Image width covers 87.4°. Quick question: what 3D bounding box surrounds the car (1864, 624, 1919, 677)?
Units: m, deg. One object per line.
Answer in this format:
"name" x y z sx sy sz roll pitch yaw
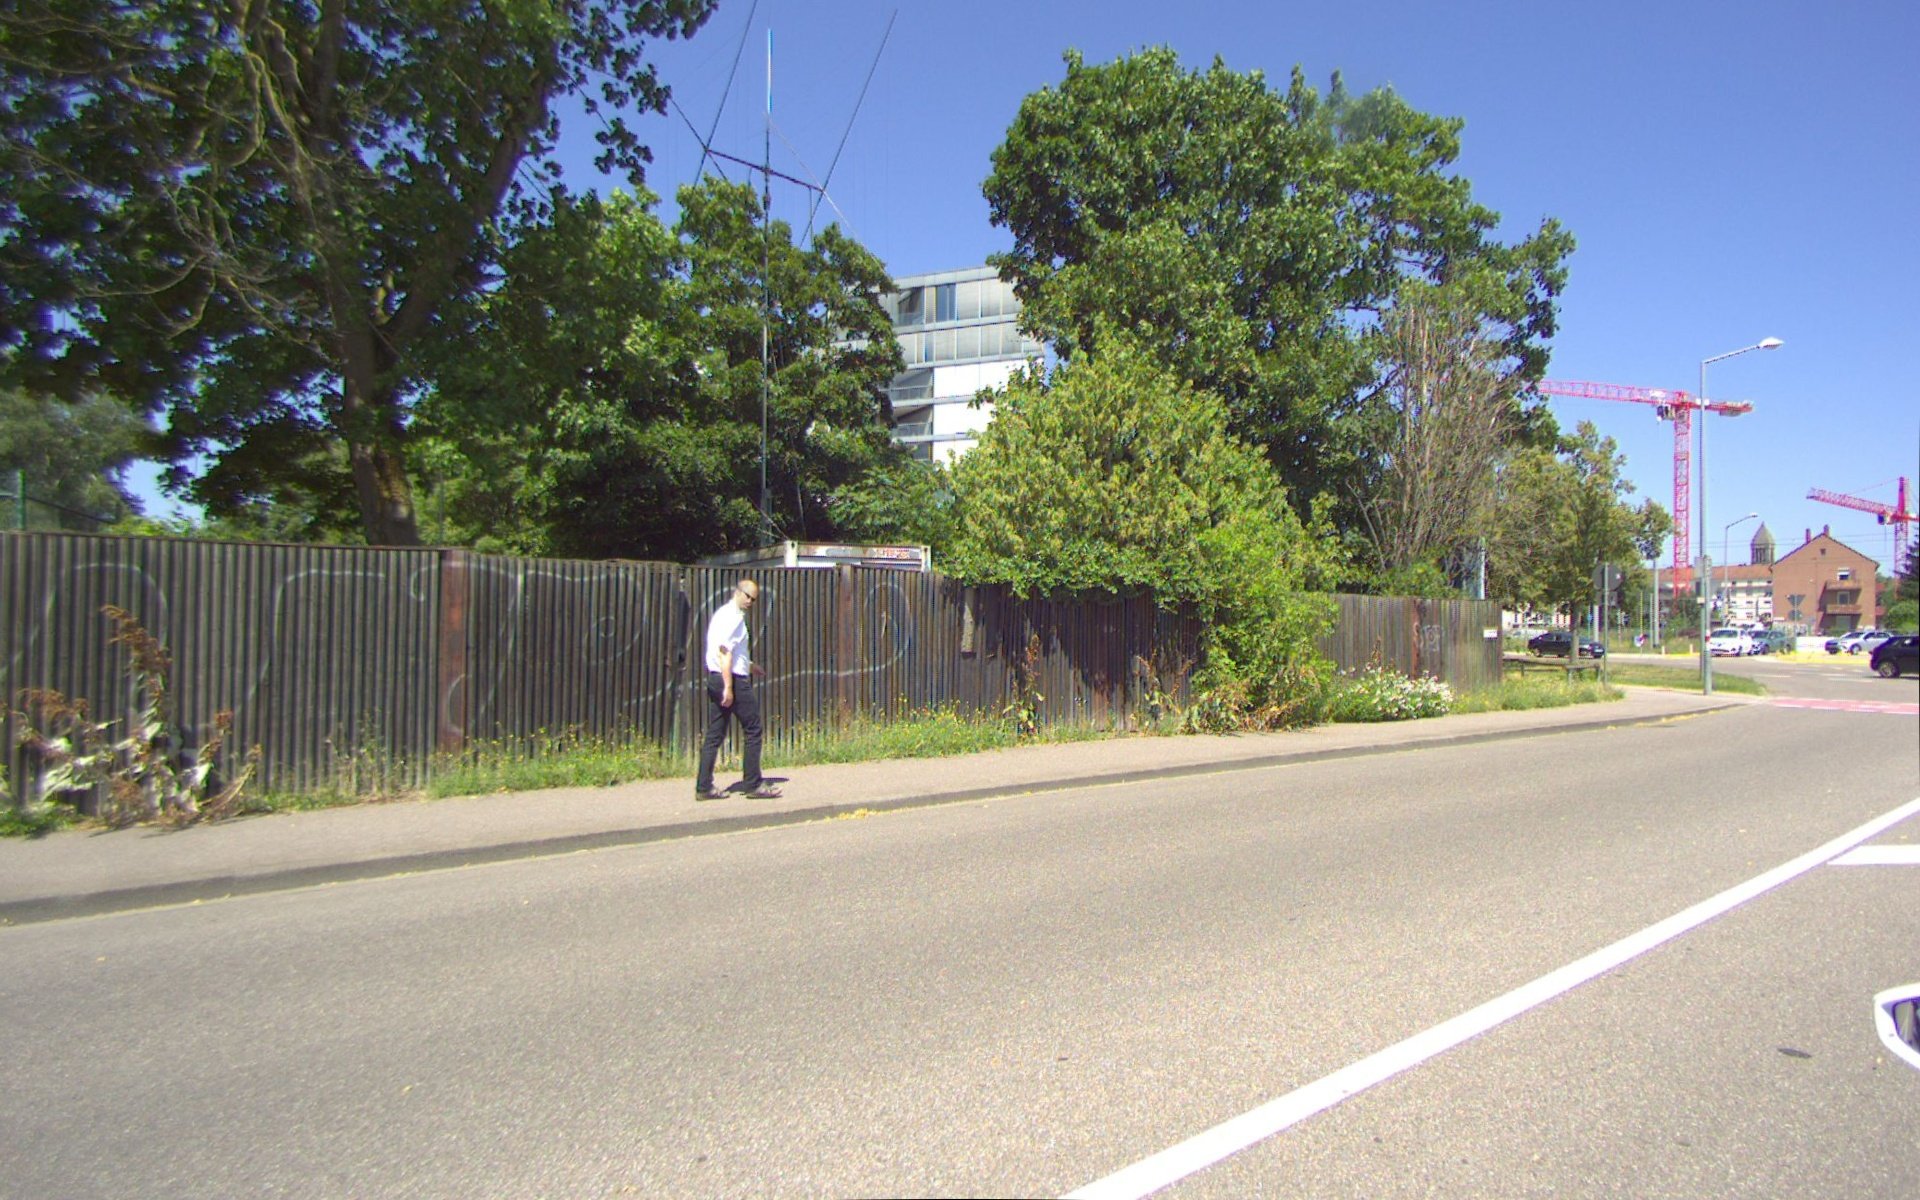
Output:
"car" 31.365 1.629 31.707 1.706 1.641 4.004 1 -1 -11

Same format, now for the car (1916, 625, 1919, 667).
"car" 35.218 1.644 33.970 1.766 1.516 3.997 1 -1 -5

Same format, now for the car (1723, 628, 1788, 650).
"car" 46.496 2.275 58.702 3.742 1.253 1.699 2 -1 -30

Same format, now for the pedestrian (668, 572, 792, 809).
"pedestrian" -1.906 0.716 8.318 0.841 1.849 0.589 1 0 -30

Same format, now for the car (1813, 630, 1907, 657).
"car" 55.602 2.680 62.114 4.136 1.520 1.713 1 -1 3

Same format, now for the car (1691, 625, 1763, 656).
"car" 42.234 2.222 55.290 3.953 1.570 1.748 2 -1 -30

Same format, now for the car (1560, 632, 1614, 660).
"car" 35.775 2.584 57.414 1.787 1.466 4.532 1 -1 21

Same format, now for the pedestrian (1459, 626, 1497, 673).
"pedestrian" 18.016 1.704 34.938 0.796 1.584 0.876 1 0 -7
